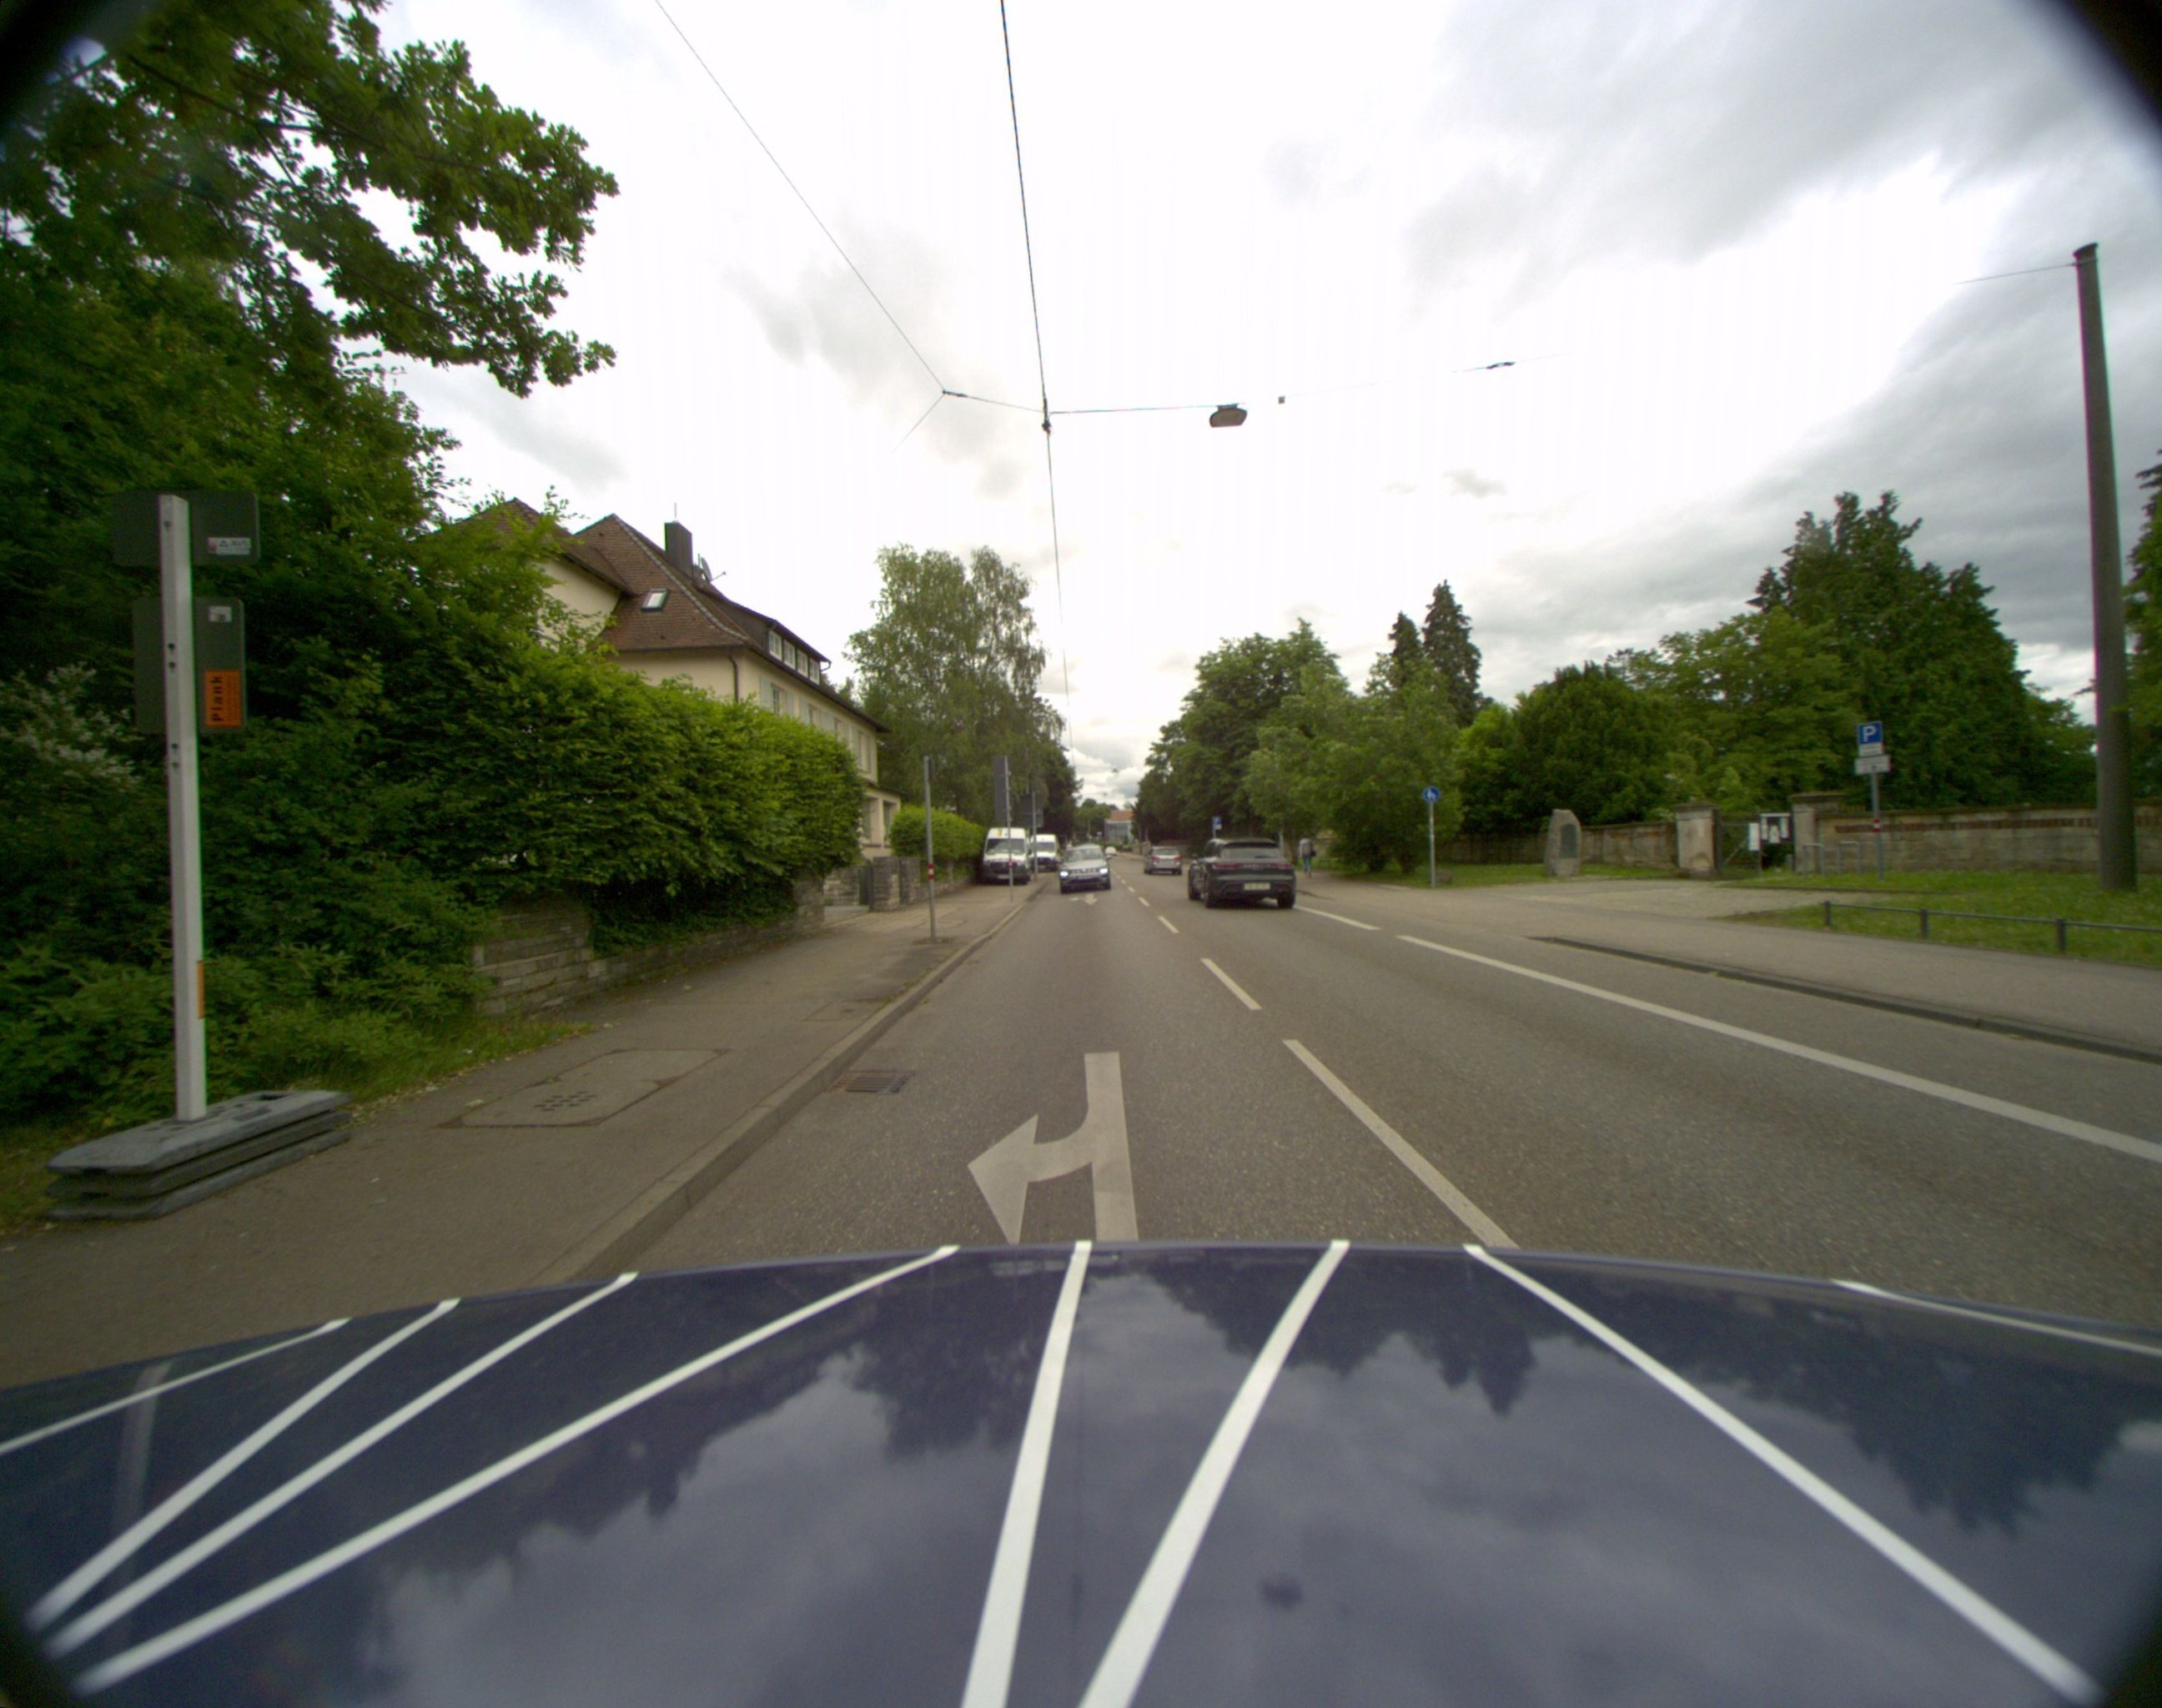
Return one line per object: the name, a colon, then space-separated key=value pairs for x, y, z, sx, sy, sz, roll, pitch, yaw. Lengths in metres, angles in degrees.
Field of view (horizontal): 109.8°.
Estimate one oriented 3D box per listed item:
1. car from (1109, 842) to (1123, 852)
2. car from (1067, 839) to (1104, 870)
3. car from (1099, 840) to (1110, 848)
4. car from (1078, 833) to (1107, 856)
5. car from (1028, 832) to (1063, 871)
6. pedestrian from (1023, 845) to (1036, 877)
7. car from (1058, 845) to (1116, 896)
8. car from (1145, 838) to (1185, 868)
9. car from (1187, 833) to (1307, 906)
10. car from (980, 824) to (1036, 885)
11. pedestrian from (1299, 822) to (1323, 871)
car: x=5.529 y=-1.142 z=121.577 sx=1.913 sy=1.484 sz=3.998 roll=1 pitch=1 yaw=-2
car: x=0.195 y=-0.014 z=44.618 sx=1.835 sy=1.610 sz=4.486 roll=-4 pitch=1 yaw=-3
car: x=4.536 y=-2.001 z=148.597 sx=1.913 sy=1.484 sz=3.998 roll=1 pitch=1 yaw=-2
car: x=0.839 y=-0.745 z=58.271 sx=1.835 sy=1.610 sz=4.486 roll=-4 pitch=1 yaw=-3
car: x=-2.454 y=-0.222 z=53.672 sx=2.046 sy=2.588 sz=5.965 roll=-1 pitch=1 yaw=0
pedestrian: x=-2.985 y=0.398 z=44.267 sx=0.640 sy=1.820 sz=0.786 roll=-2 pitch=2 yaw=-2
car: x=0.137 y=0.543 z=28.597 sx=1.835 sy=1.610 sz=4.486 roll=-4 pitch=1 yaw=-3
car: x=4.360 y=-0.057 z=39.898 sx=1.729 sy=1.454 sz=4.153 roll=-1 pitch=1 yaw=2
car: x=3.796 y=0.291 z=18.209 sx=1.944 sy=1.522 sz=4.525 roll=0 pitch=1 yaw=1
car: x=-3.330 y=-0.042 z=35.933 sx=2.095 sy=2.590 sz=6.679 roll=-1 pitch=1 yaw=-2
pedestrian: x=8.839 y=-0.297 z=29.214 sx=0.615 sy=1.801 sz=0.785 roll=-3 pitch=2 yaw=0
